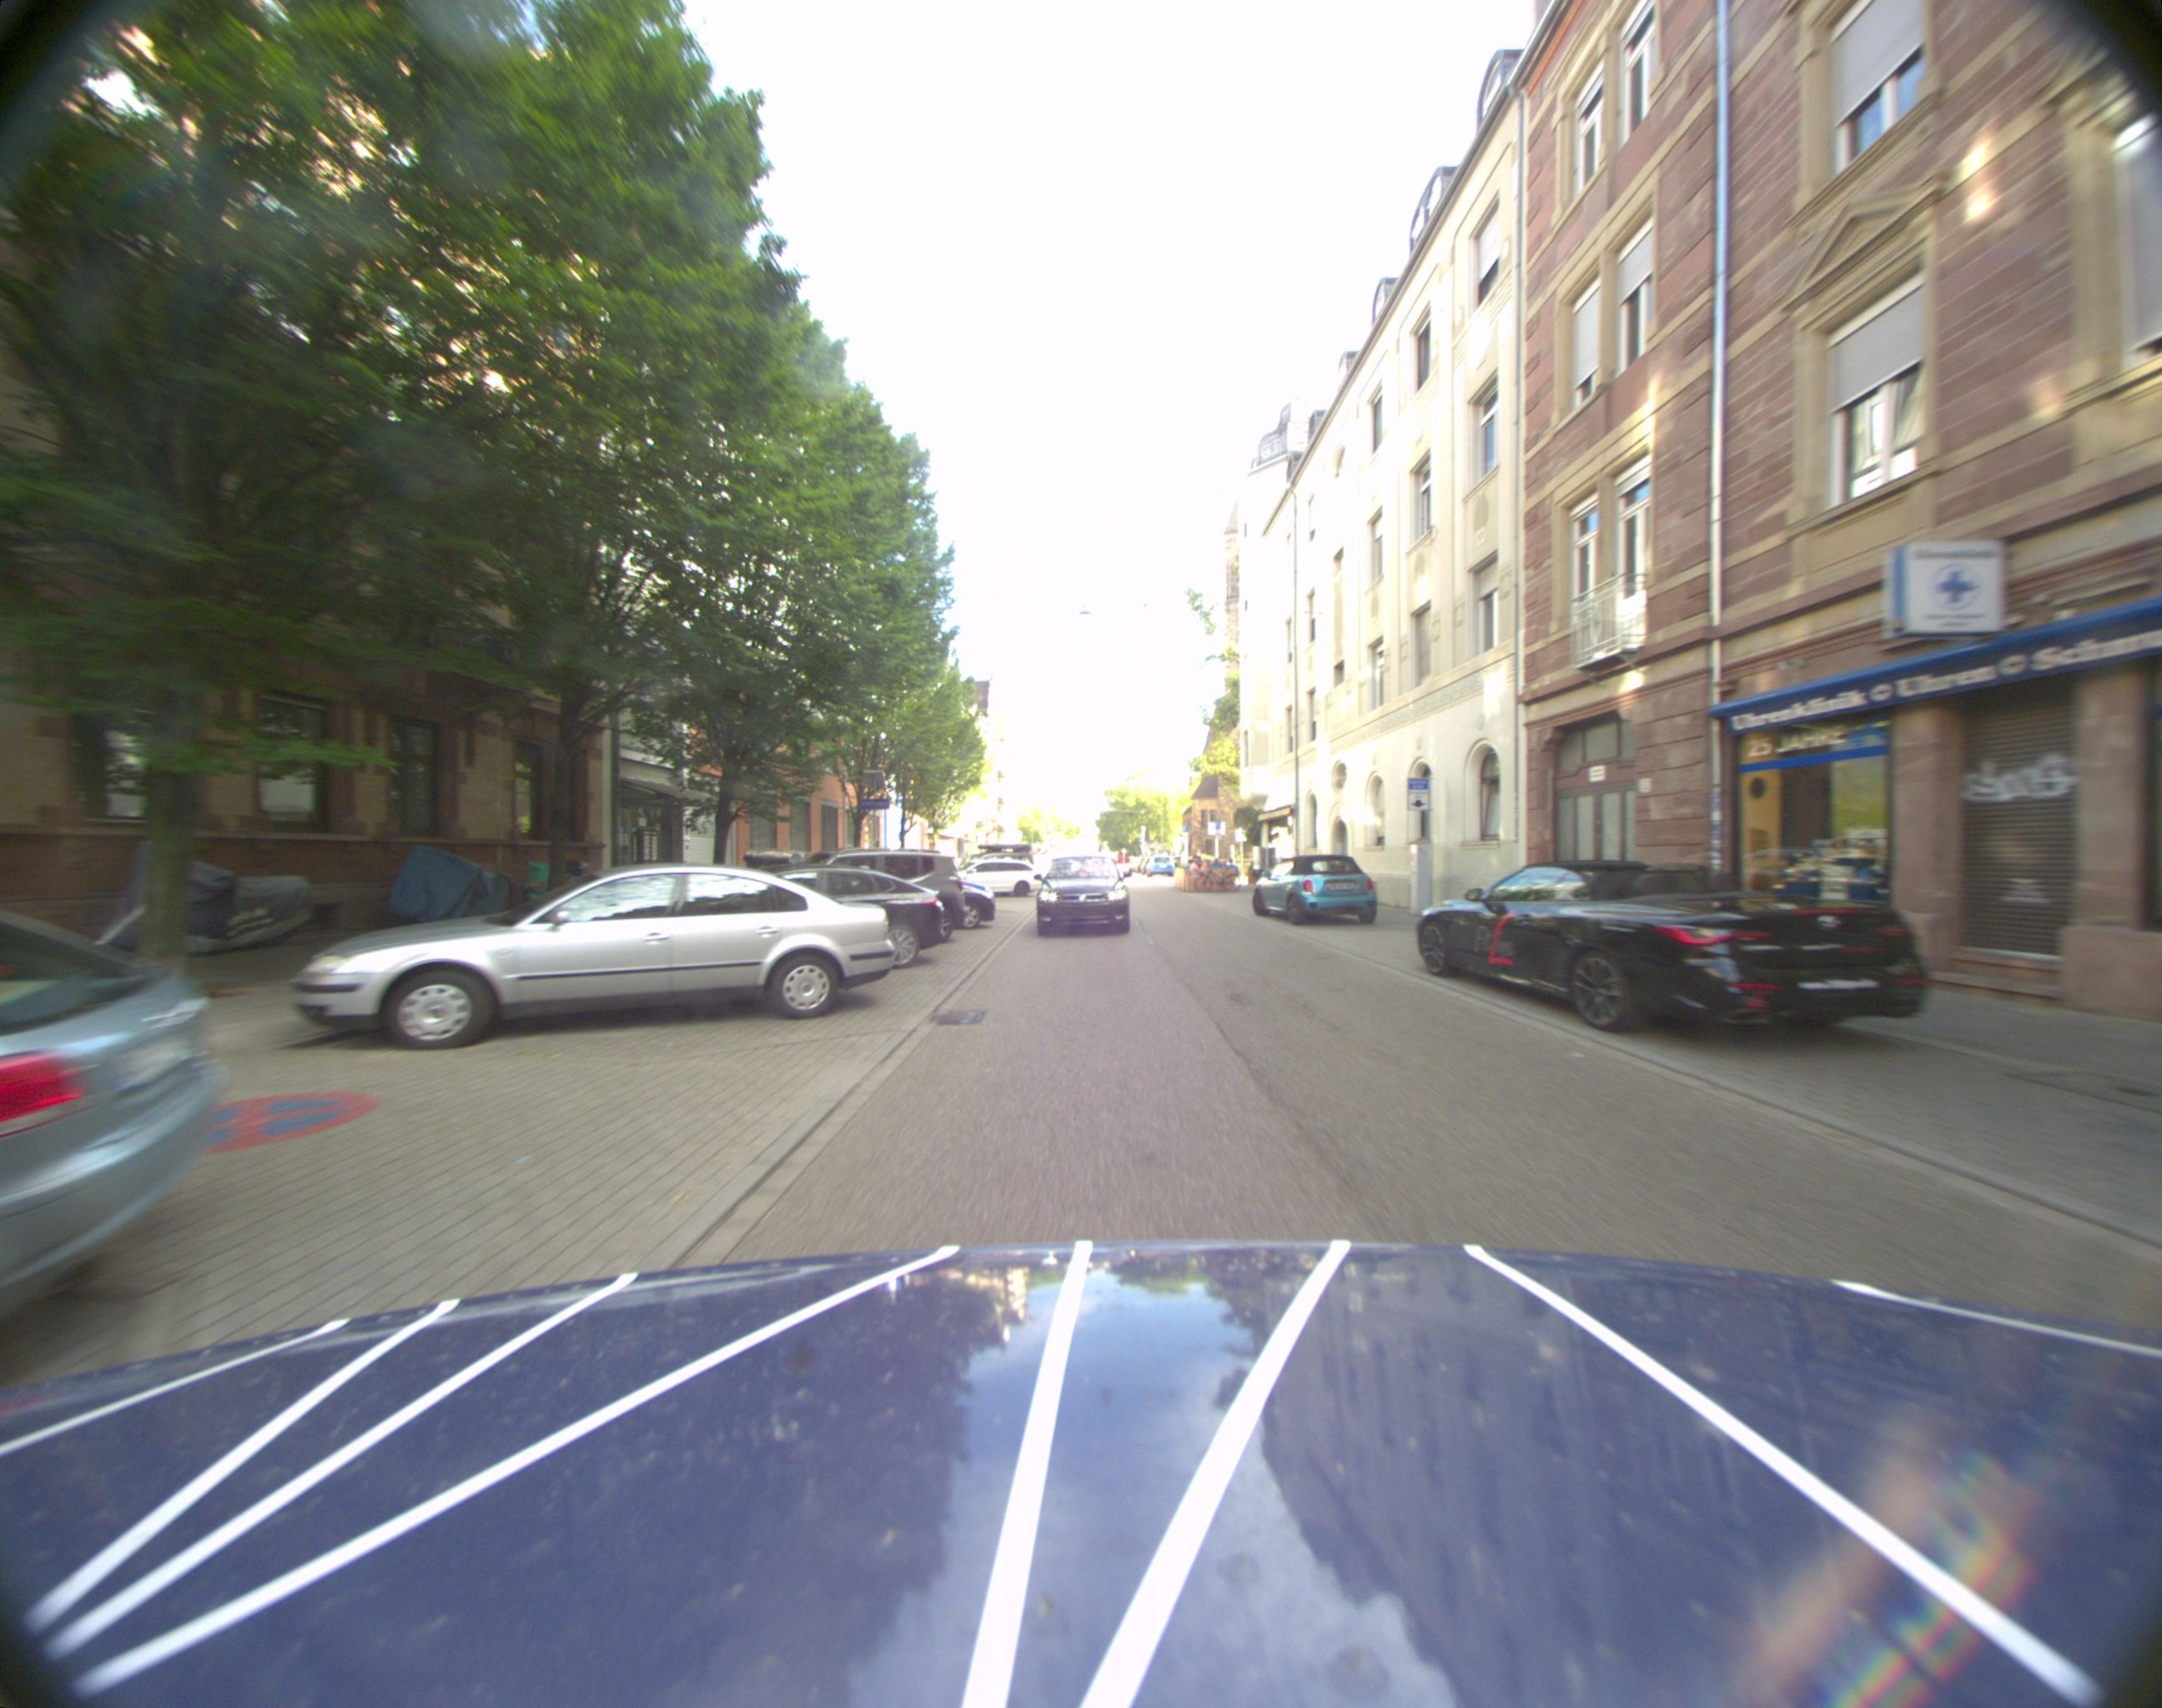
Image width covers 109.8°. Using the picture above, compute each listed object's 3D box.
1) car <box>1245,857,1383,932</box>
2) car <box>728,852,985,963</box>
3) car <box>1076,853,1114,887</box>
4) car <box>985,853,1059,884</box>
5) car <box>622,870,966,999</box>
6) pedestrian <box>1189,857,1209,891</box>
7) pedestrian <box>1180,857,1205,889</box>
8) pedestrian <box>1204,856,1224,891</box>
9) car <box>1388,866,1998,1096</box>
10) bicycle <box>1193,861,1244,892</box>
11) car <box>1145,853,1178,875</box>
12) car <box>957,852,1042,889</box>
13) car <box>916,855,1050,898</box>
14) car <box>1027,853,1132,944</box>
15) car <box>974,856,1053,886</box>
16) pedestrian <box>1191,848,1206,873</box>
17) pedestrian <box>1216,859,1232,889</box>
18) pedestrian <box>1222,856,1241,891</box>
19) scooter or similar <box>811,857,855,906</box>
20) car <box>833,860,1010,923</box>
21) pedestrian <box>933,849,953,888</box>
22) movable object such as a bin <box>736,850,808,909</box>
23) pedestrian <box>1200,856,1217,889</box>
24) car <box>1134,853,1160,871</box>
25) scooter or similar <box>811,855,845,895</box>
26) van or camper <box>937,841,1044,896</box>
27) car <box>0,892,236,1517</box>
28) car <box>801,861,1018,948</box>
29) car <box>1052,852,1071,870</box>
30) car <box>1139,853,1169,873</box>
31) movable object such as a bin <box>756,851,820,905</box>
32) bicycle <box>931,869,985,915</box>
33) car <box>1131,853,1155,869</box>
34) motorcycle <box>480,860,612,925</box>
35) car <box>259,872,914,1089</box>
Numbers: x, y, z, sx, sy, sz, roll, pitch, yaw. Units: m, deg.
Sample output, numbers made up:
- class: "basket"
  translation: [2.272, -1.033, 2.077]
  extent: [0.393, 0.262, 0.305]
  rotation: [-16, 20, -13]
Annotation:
- class: "car"
  translation: [5.041, 0.810, 17.029]
  extent: [1.674, 1.407, 4.011]
  rotation: [-2, 0, -3]
- class: "car"
  translation: [-3.936, 0.838, 13.515]
  extent: [4.007, 1.689, 1.848]
  rotation: [0, -1, -34]
- class: "car"
  translation: [0.775, 0.800, 40.203]
  extent: [1.810, 1.622, 4.001]
  rotation: [-3, 0, 2]
- class: "car"
  translation: [-3.555, 0.852, 46.130]
  extent: [4.006, 1.663, 1.923]
  rotation: [-2, 0, -31]
- class: "car"
  translation: [-3.903, 0.957, 10.586]
  extent: [4.146, 1.409, 1.864]
  rotation: [0, -1, -35]
- class: "pedestrian"
  translation: [4.882, 0.825, 31.543]
  extent: [0.739, 1.341, 0.644]
  rotation: [-2, 1, 3]
- class: "pedestrian"
  translation: [5.013, 0.845, 34.144]
  extent: [1.088, 1.365, 0.895]
  rotation: [-2, 1, 9]
- class: "pedestrian"
  translation: [5.425, 0.791, 30.958]
  extent: [0.689, 1.365, 0.739]
  rotation: [-2, 1, 4]
- class: "car"
  translation: [4.962, 0.857, 7.427]
  extent: [1.816, 1.343, 5.114]
  rotation: [-1, 0, 0]
- class: "bicycle"
  translation: [5.380, 0.884, 29.860]
  extent: [1.872, 1.168, 0.688]
  rotation: [-2, 1, 2]
- class: "car"
  translation: [5.618, 0.677, 53.360]
  extent: [1.828, 1.477, 4.170]
  rotation: [-2, 0, 1]
- class: "car"
  translation: [-4.276, 0.829, 40.110]
  extent: [4.006, 1.751, 1.908]
  rotation: [-2, 0, -31]
- class: "car"
  translation: [-3.806, 0.882, 29.802]
  extent: [4.817, 1.535, 1.866]
  rotation: [1, 0, -31]
- class: "car"
  translation: [0.107, 0.834, 16.403]
  extent: [1.874, 1.644, 4.388]
  rotation: [-2, 0, 4]
- class: "car"
  translation: [-3.848, 0.947, 43.434]
  extent: [4.006, 1.499, 1.995]
  rotation: [-2, 0, -31]
- class: "pedestrian"
  translation: [7.942, 0.445, 51.409]
  extent: [0.845, 1.699, 0.879]
  rotation: [-2, 1, 1]
- class: "pedestrian"
  translation: [6.053, 0.836, 32.221]
  extent: [0.597, 1.236, 0.694]
  rotation: [-2, 1, 7]
- class: "pedestrian"
  translation: [6.110, 0.783, 30.847]
  extent: [0.637, 1.364, 0.684]
  rotation: [-2, 1, 4]
- class: "scooter or similar"
  translation: [-7.218, 0.789, 22.157]
  extent: [0.524, 1.372, 1.323]
  rotation: [-1, 0, 15]
- class: "car"
  translation: [-3.965, 0.912, 18.995]
  extent: [4.006, 1.430, 1.721]
  rotation: [1, 0, -26]
- class: "pedestrian"
  translation: [-6.344, 0.667, 34.971]
  extent: [0.754, 1.728, 0.952]
  rotation: [3, 0, -4]
- class: "movable object such as a bin"
  translation: [-8.495, 0.680, 20.972]
  extent: [1.375, 1.451, 1.164]
  rotation: [6, 0, -2]
- class: "pedestrian"
  translation: [5.431, 0.779, 32.334]
  extent: [0.668, 1.328, 0.740]
  rotation: [-2, 1, 7]
- class: "car"
  translation: [5.659, 0.658, 65.733]
  extent: [1.911, 1.412, 4.000]
  rotation: [-2, 0, 1]
- class: "scooter or similar"
  translation: [-8.955, 0.730, 26.872]
  extent: [0.526, 1.306, 1.317]
  rotation: [3, 1, -44]
- class: "van or camper"
  translation: [-3.857, 0.581, 32.343]
  extent: [4.006, 2.166, 1.995]
  rotation: [-2, 0, -30]
- class: "car"
  translation: [-4.793, 0.880, 1.393]
  extent: [4.008, 1.453, 1.882]
  rotation: [1, 1, -35]
- class: "car"
  translation: [-3.621, 0.975, 16.343]
  extent: [4.133, 1.512, 1.840]
  rotation: [-2, 1, -36]
- class: "car"
  translation: [-2.193, 0.802, 87.162]
  extent: [1.810, 1.914, 4.001]
  rotation: [-3, 0, 2]
- class: "car"
  translation: [5.679, 0.683, 59.383]
  extent: [1.911, 1.412, 4.000]
  rotation: [-2, 0, 1]
- class: "movable object such as a bin"
  translation: [-8.489, 0.684, 22.095]
  extent: [1.375, 1.438, 1.037]
  rotation: [5, 0, -2]
- class: "bicycle"
  translation: [-3.540, 1.058, 21.786]
  extent: [0.703, 1.205, 1.744]
  rotation: [-2, 1, -39]
- class: "car"
  translation: [5.919, 0.619, 72.971]
  extent: [1.911, 1.412, 4.000]
  rotation: [-2, 0, 1]
- class: "motorcycle"
  translation: [-10.846, 0.734, 15.562]
  extent: [0.896, 1.180, 2.491]
  rotation: [-2, 0, 0]
- class: "car"
  translation: [-4.120, 0.936, 7.184]
  extent: [4.620, 1.443, 1.788]
  rotation: [1, 0, -31]
